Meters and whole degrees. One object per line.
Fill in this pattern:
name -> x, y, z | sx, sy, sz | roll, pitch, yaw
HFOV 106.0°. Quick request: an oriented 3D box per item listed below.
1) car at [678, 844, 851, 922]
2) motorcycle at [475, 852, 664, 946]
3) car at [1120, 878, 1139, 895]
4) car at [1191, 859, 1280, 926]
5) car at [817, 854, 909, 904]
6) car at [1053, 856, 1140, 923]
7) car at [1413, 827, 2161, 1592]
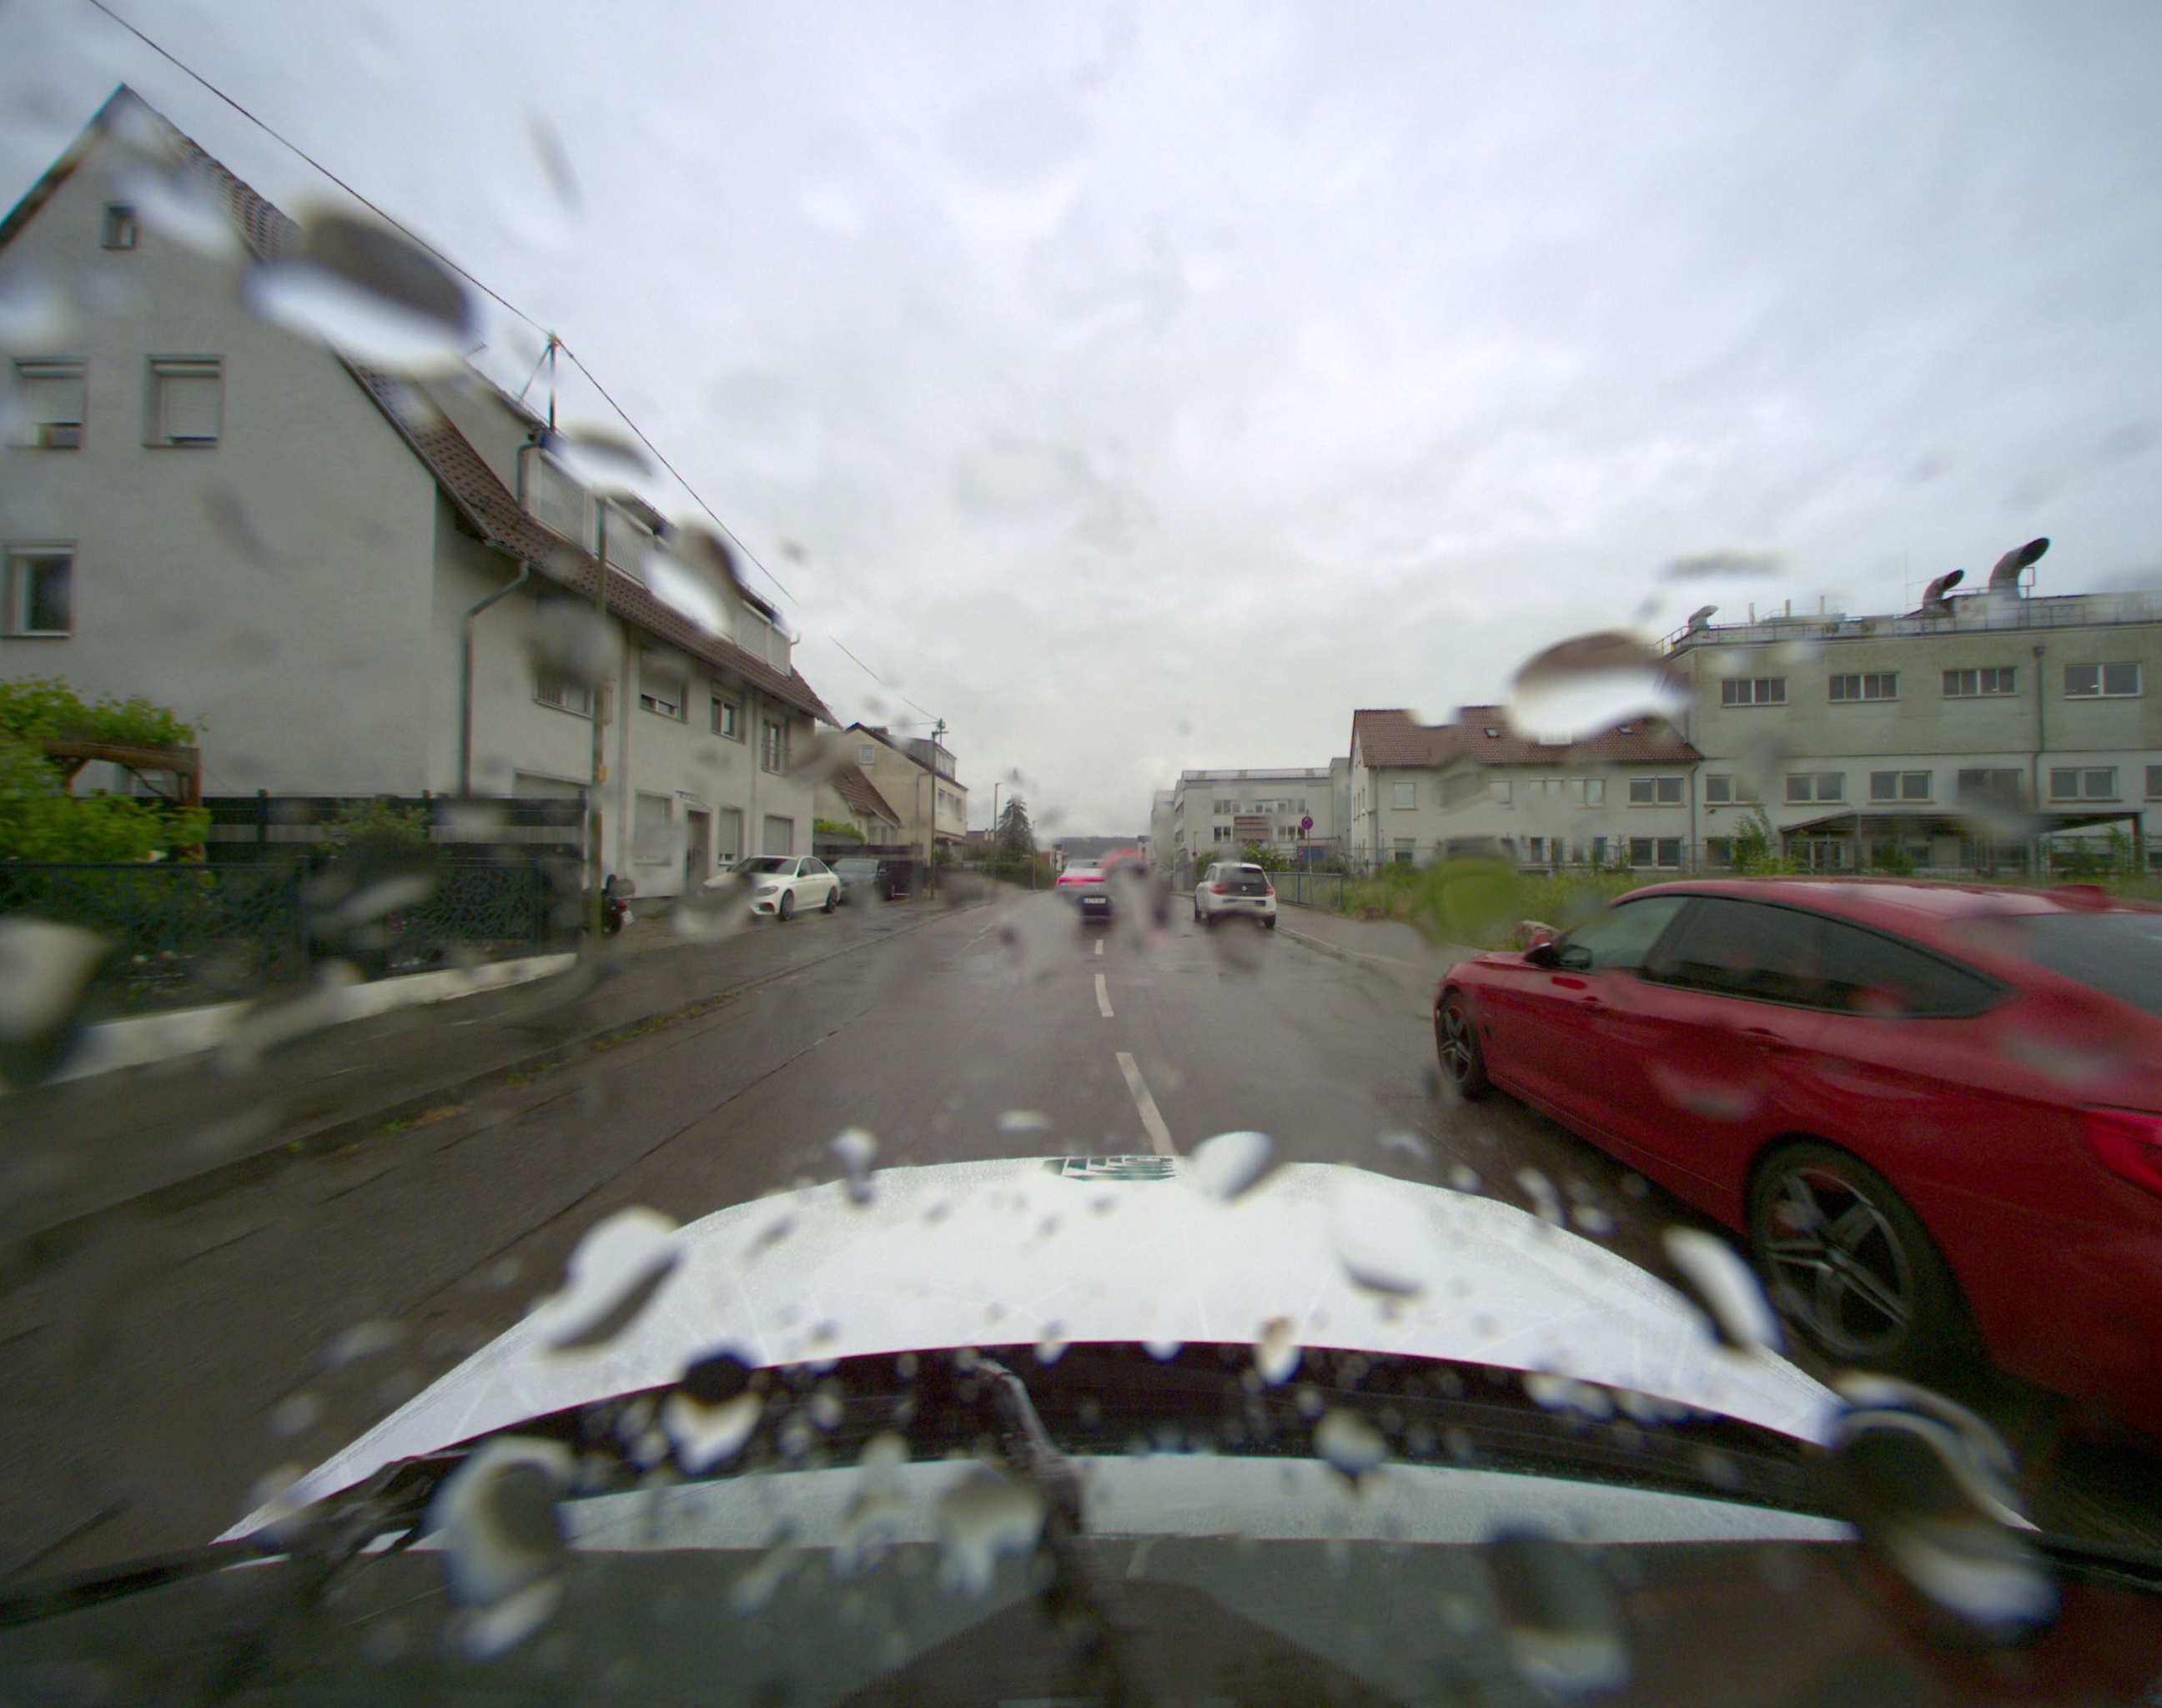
car -> -7.278, 0.627, 19.410 | 1.986, 1.510, 4.897 | 3, 0, 2
motorcycle -> -7.782, 0.672, 12.451 | 2.353, 1.273, 0.736 | 3, -1, 2
car -> 6.086, 4.133, 102.389 | 1.988, 2.014, 3.996 | -1, -4, -2
car -> 3.931, 0.939, 21.261 | 1.675, 1.557, 3.675 | 1, 0, 1
car -> -6.980, 0.754, 26.606 | 1.822, 1.368, 4.566 | 4, 0, -2
car -> 0.364, 0.828, 20.982 | 1.987, 1.502, 4.669 | 1, 0, 0
car -> 3.185, 0.757, 3.762 | 1.635, 1.575, 4.647 | 1, 0, 3
